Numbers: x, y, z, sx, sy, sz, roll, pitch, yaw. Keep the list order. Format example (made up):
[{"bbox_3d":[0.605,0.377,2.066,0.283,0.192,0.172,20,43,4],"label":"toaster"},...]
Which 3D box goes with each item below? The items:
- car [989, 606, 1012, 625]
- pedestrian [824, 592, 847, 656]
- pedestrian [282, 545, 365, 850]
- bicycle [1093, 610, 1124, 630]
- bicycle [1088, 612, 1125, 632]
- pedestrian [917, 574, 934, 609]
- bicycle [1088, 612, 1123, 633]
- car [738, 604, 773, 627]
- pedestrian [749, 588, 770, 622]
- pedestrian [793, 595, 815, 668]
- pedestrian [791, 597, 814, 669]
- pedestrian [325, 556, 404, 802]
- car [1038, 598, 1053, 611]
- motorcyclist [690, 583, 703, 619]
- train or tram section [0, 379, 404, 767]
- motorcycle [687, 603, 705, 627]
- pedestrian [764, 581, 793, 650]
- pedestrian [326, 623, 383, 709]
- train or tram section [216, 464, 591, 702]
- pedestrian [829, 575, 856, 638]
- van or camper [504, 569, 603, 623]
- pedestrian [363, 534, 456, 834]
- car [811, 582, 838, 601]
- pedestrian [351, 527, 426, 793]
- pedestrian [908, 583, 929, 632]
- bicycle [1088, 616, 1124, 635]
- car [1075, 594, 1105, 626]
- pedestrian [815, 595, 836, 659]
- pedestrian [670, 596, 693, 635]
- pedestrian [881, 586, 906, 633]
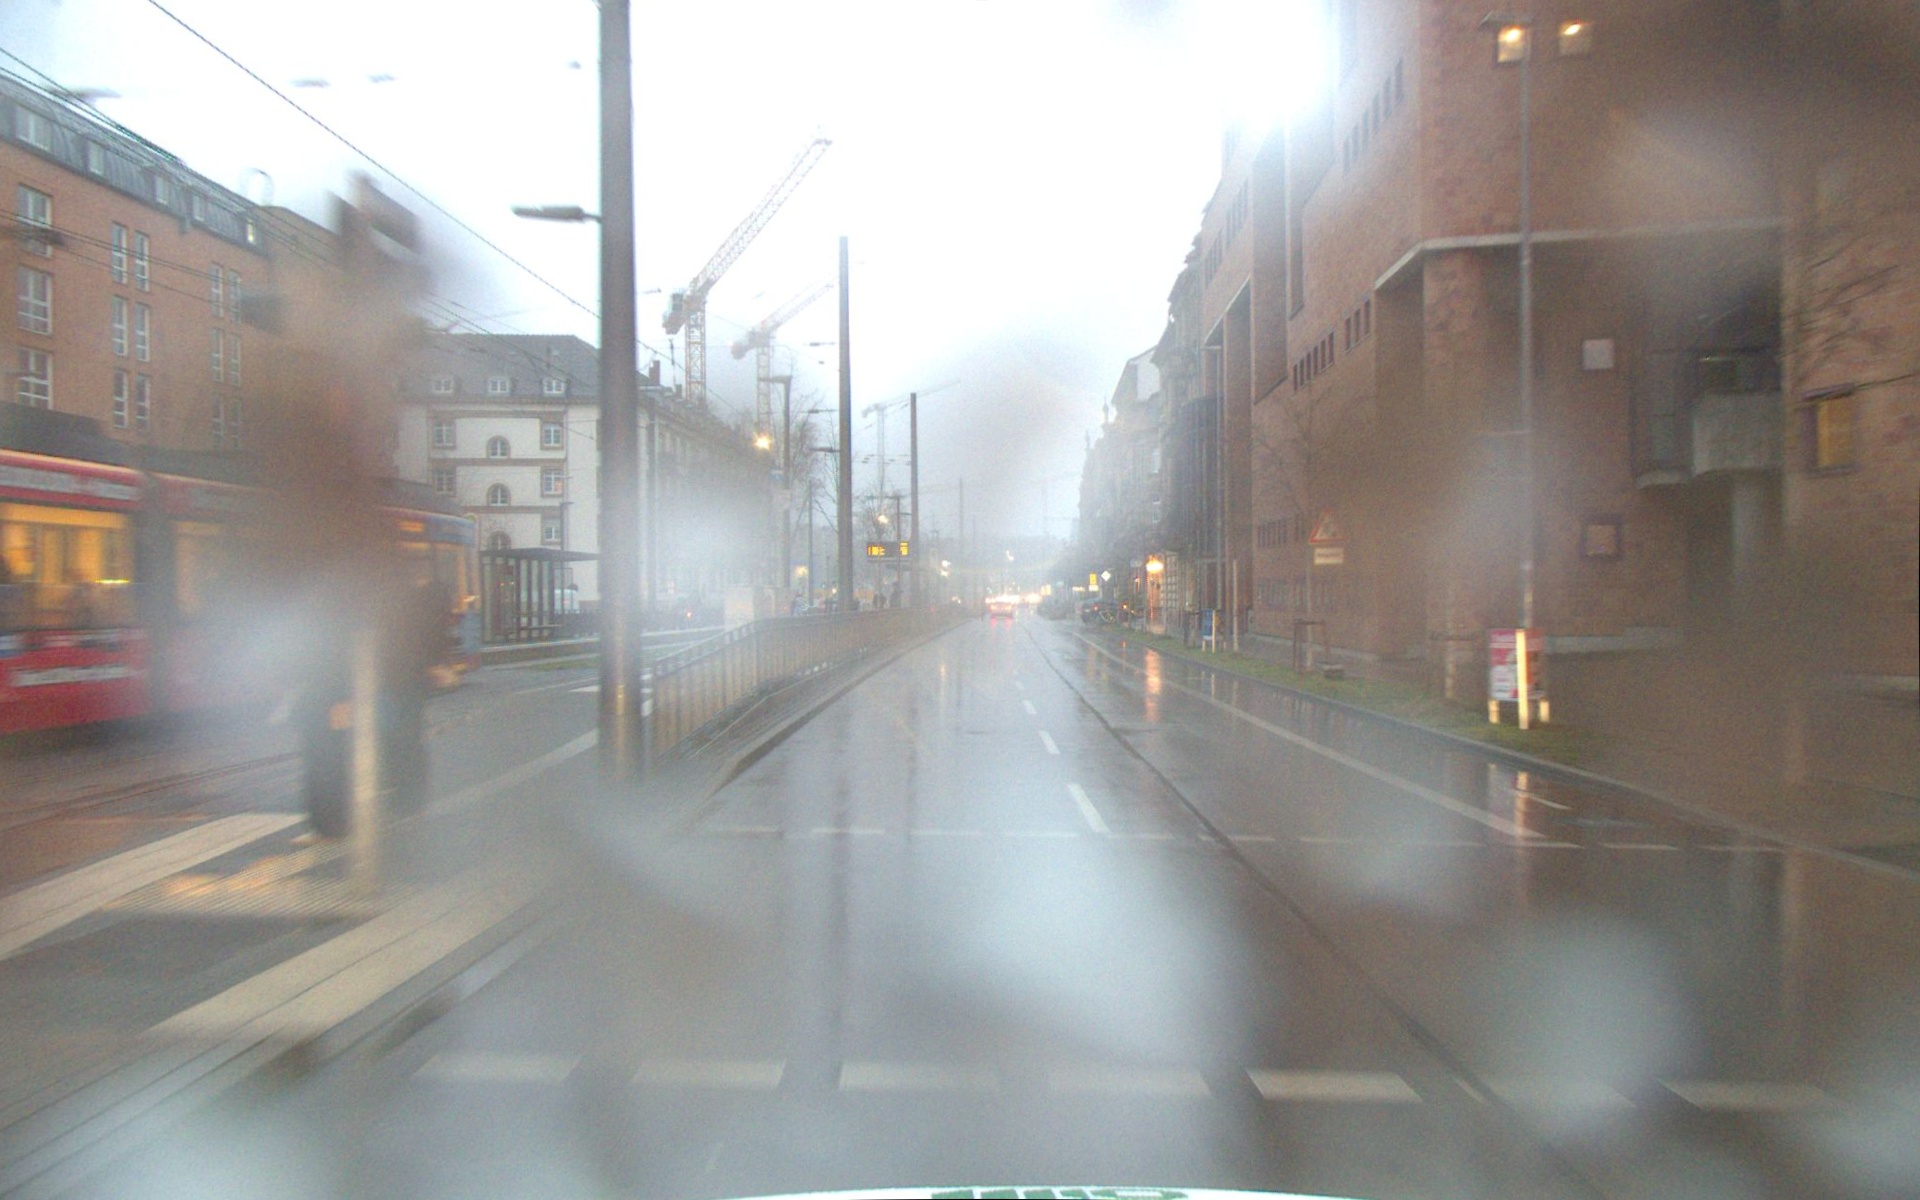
[{"bbox_3d":[3.344,1.275,135.408,1.746,1.492,3.150,-1,0,4],"label":"car"},{"bbox_3d":[-3.129,0.599,41.572,0.529,1.618,0.563,0,0,-1],"label":"pedestrian"},{"bbox_3d":[-3.874,0.580,10.085,0.352,1.818,0.440,0,0,-3],"label":"pedestrian"},{"bbox_3d":[8.590,1.144,95.609,1.694,1.073,0.371,-2,0,1],"label":"bicycle"},{"bbox_3d":[8.741,1.304,98.708,2.100,1.073,0.425,-3,1,1],"label":"bicycle"},{"bbox_3d":[-1.510,-0.387,72.882,0.667,1.542,0.617,0,0,-10],"label":"pedestrian"},{"bbox_3d":[8.538,1.316,97.241,1.967,1.114,0.425,-3,0,1],"label":"bicycle"},{"bbox_3d":[-12.623,0.946,102.038,1.647,1.378,3.546,1,0,1],"label":"car"},{"bbox_3d":[-10.500,0.260,86.636,0.790,1.811,0.811,1,0,-40],"label":"pedestrian"},{"bbox_3d":[-3.661,0.734,38.762,0.471,1.708,0.563,0,0,-1],"label":"pedestrian"},{"bbox_3d":[-3.589,0.748,37.707,0.471,1.618,0.563,0,0,-1],"label":"pedestrian"},{"bbox_3d":[-4.374,0.569,12.163,0.424,1.766,0.473,0,0,-3],"label":"pedestrian"},{"bbox_3d":[10.508,0.543,203.673,1.761,1.632,3.772,-1,0,4],"label":"car"},{"bbox_3d":[-11.341,0.029,71.144,0.489,1.522,0.556,1,0,-3],"label":"motorcyclist"},{"bbox_3d":[-10.262,-0.270,20.001,2.864,3.641,11.038,1,0,2],"label":"train or tram section"},{"bbox_3d":[-11.355,0.645,71.150,0.502,1.026,1.806,1,0,-2],"label":"motorcycle"},{"bbox_3d":[-4.299,0.355,39.157,0.605,1.618,0.622,0,0,-1],"label":"pedestrian"},{"bbox_3d":[-8.440,0.913,23.067,0.568,1.173,0.490,1,0,3],"label":"pedestrian"},{"bbox_3d":[-9.849,-0.264,31.101,2.839,3.630,11.038,1,0,2],"label":"train or tram section"},{"bbox_3d":[-3.238,0.177,45.485,0.635,1.733,0.566,0,0,-16],"label":"pedestrian"},{"bbox_3d":[-21.596,-0.176,88.264,2.714,2.729,6.759,1,0,9],"label":"van or camper"},{"bbox_3d":[-3.550,0.525,10.702,0.404,1.878,0.669,0,0,-3],"label":"pedestrian"},{"bbox_3d":[-10.180,-0.603,124.304,1.647,1.378,3.546,1,0,1],"label":"car"},{"bbox_3d":[-4.388,0.450,12.714,0.424,2.002,0.473,0,0,-3],"label":"pedestrian"},{"bbox_3d":[-1.682,0.314,67.704,0.793,1.981,0.805,0,0,2],"label":"pedestrian"},{"bbox_3d":[8.763,1.508,99.333,2.100,1.073,0.484,-2,0,1],"label":"bicycle"},{"bbox_3d":[8.620,0.660,109.939,1.952,2.049,4.002,-1,0,4],"label":"car"},{"bbox_3d":[-3.660,0.729,45.003,0.529,1.722,0.643,0,0,-1],"label":"pedestrian"},{"bbox_3d":[-11.329,0.633,67.277,0.630,1.551,0.745,1,0,-40],"label":"pedestrian"},{"bbox_3d":[-2.434,0.348,60.535,0.763,1.733,0.770,0,0,-16],"label":"pedestrian"}]
